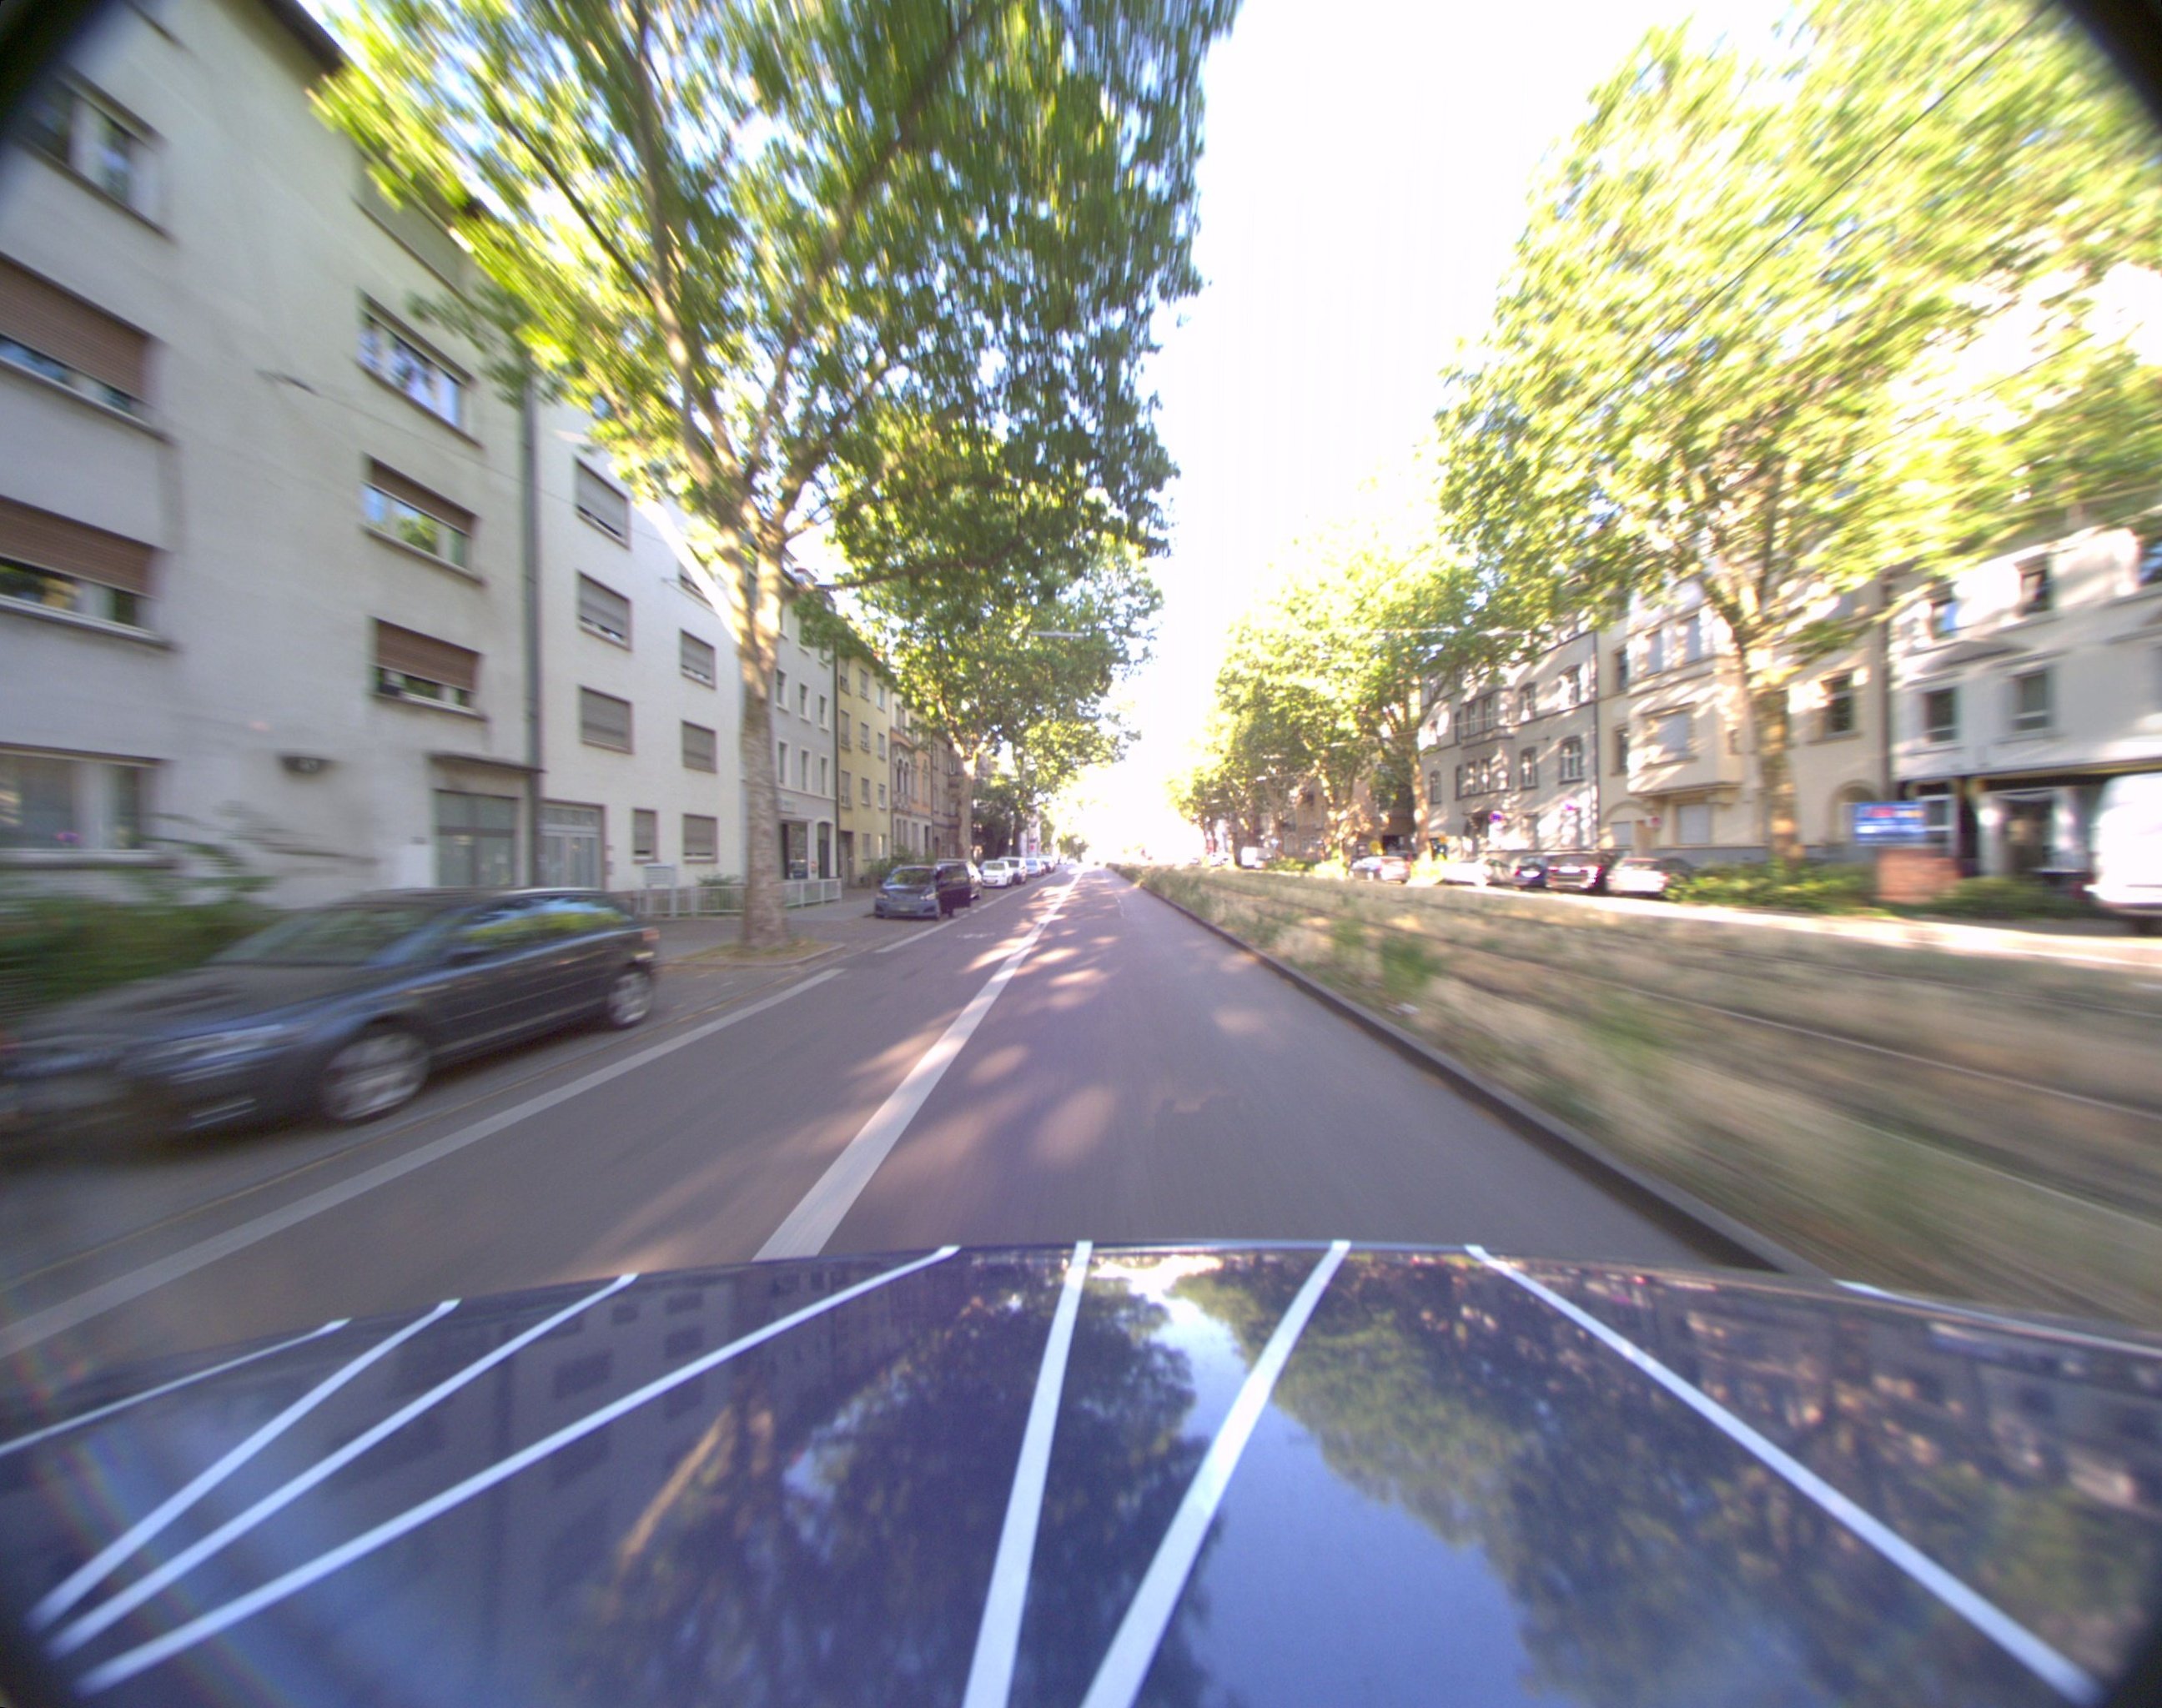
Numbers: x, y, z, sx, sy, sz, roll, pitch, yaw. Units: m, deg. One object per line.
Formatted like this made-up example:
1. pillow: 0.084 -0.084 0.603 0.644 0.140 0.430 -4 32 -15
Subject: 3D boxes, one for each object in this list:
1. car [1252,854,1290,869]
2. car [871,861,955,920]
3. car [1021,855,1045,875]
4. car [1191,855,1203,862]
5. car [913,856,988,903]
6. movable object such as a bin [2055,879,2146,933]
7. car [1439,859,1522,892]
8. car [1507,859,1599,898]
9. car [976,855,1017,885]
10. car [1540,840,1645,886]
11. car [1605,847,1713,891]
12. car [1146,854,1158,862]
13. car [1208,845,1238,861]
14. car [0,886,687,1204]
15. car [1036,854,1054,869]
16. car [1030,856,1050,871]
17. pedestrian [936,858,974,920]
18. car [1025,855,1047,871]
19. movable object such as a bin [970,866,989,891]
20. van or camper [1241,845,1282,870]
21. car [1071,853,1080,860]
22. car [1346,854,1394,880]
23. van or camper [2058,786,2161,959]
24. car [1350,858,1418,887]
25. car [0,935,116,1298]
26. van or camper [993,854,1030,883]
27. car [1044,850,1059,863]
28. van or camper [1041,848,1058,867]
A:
1. car: 20.613 0.845 82.424 4.005 1.240 1.726 -5 2 -33
2. car: -4.751 0.970 22.015 1.748 1.455 4.024 -2 0 -4
3. car: -4.115 0.938 65.256 1.790 1.609 3.829 0 0 1
4. car: 24.054 0.900 157.742 1.998 1.412 4.000 -4 1 3
5. car: -4.822 0.909 28.794 1.998 1.557 4.664 0 1 1
6. movable object such as a bin: 20.640 1.032 15.393 0.741 1.016 0.868 -1 1 -11
7. car: 19.125 1.004 36.348 3.686 1.382 1.822 -2 1 -30
8. car: 19.849 0.999 31.909 4.007 1.524 1.821 0 -1 -34
9. car: -4.629 0.862 41.936 1.702 1.517 4.194 -1 0 1
10. car: 19.299 0.348 28.604 4.169 1.583 1.932 1 -1 -35
11. car: 19.290 0.451 25.317 4.014 1.349 1.797 -1 0 -36
12. car: 14.792 0.760 158.359 1.997 1.477 4.002 -4 1 9
13. car: 20.546 -0.152 109.861 4.007 2.002 1.995 -4 1 -41
14. car: -5.180 1.078 6.099 1.713 1.407 4.363 0 1 1
15. car: -3.891 0.748 82.618 1.790 1.585 4.013 0 0 0
16. car: -4.043 0.943 75.330 1.790 1.458 3.569 0 0 1
17. pedestrian: -3.675 1.012 22.167 0.755 1.740 0.679 -3 1 42
18. car: -4.113 0.791 70.560 1.790 1.458 3.569 0 0 1
19. movable object such as a bin: -4.688 1.120 35.044 0.683 1.109 0.670 -4 1 2
20. van or camper: 20.157 0.349 84.799 4.370 2.386 2.196 -5 2 -39
21. car: -1.258 0.577 180.531 1.893 1.501 4.000 -4 1 2
22. car: 19.982 0.900 52.471 1.726 1.643 4.008 -2 -1 41
23. van or camper: 19.325 0.200 12.507 5.973 2.631 2.175 -2 0 -19
24. car: 15.917 0.935 40.170 1.825 1.382 4.484 0 0 0
25. car: -5.190 1.080 1.207 1.713 1.407 4.363 0 1 1
26. van or camper: -4.372 0.890 48.232 1.790 1.710 4.379 0 0 2
27. car: -4.413 0.404 114.569 1.998 1.820 4.000 -1 0 1
28. van or camper: -3.655 0.422 89.347 1.790 2.172 4.732 0 0 1
